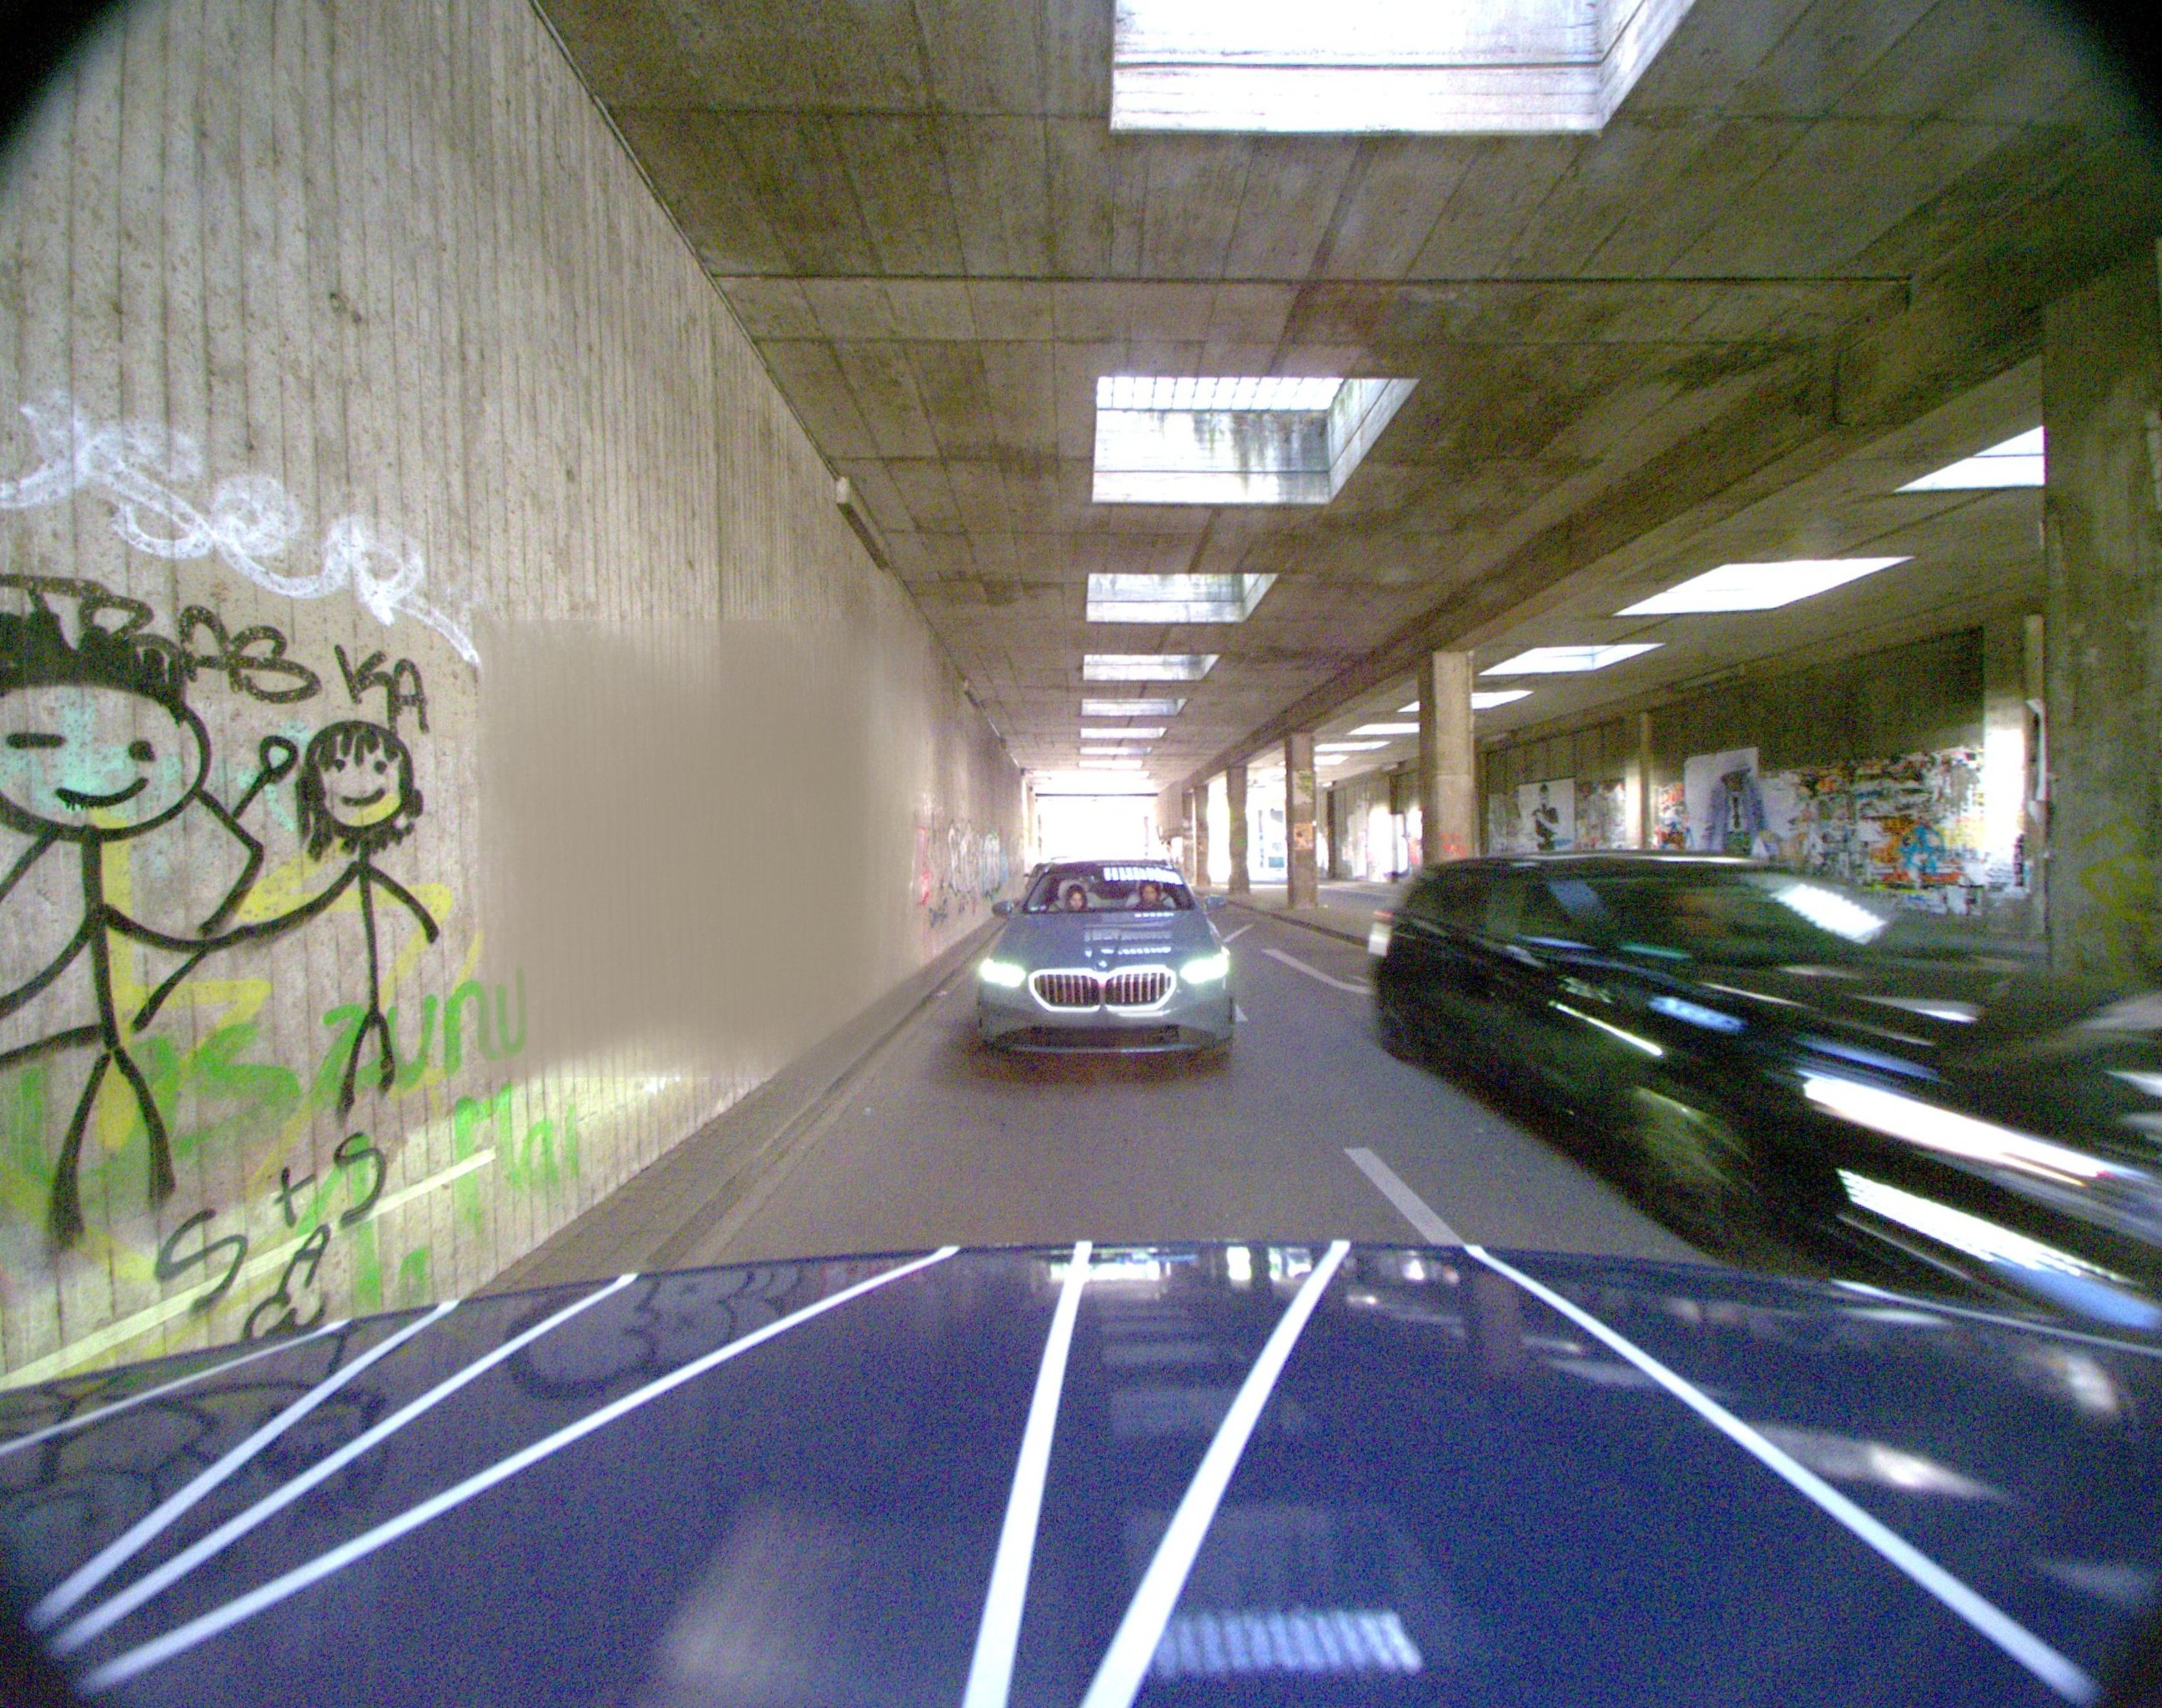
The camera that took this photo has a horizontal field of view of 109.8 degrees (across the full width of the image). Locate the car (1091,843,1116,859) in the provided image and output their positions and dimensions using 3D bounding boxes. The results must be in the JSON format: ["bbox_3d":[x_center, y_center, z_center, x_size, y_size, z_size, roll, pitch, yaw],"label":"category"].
[{"bbox_3d":[2.865,-0.337,97.523,2.361,2.002,5.146,-1,0,-8],"label":"car"}]

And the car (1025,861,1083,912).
[{"bbox_3d":[-0.788,0.949,23.886,1.593,1.387,3.833,-2,0,1],"label":"car"}]

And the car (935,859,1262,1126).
[{"bbox_3d":[0.187,0.883,7.311,1.998,1.594,5.176,-1,0,2],"label":"car"}]

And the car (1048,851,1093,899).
[{"bbox_3d":[-0.365,0.767,29.892,1.581,1.676,4.078,-2,0,1],"label":"car"}]

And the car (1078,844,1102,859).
[{"bbox_3d":[1.211,-0.343,103.536,2.361,2.002,5.146,-1,0,-8],"label":"car"}]

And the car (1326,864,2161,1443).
[{"bbox_3d":[2.951,0.850,4.172,1.784,1.438,4.178,-3,0,0],"label":"car"}]
